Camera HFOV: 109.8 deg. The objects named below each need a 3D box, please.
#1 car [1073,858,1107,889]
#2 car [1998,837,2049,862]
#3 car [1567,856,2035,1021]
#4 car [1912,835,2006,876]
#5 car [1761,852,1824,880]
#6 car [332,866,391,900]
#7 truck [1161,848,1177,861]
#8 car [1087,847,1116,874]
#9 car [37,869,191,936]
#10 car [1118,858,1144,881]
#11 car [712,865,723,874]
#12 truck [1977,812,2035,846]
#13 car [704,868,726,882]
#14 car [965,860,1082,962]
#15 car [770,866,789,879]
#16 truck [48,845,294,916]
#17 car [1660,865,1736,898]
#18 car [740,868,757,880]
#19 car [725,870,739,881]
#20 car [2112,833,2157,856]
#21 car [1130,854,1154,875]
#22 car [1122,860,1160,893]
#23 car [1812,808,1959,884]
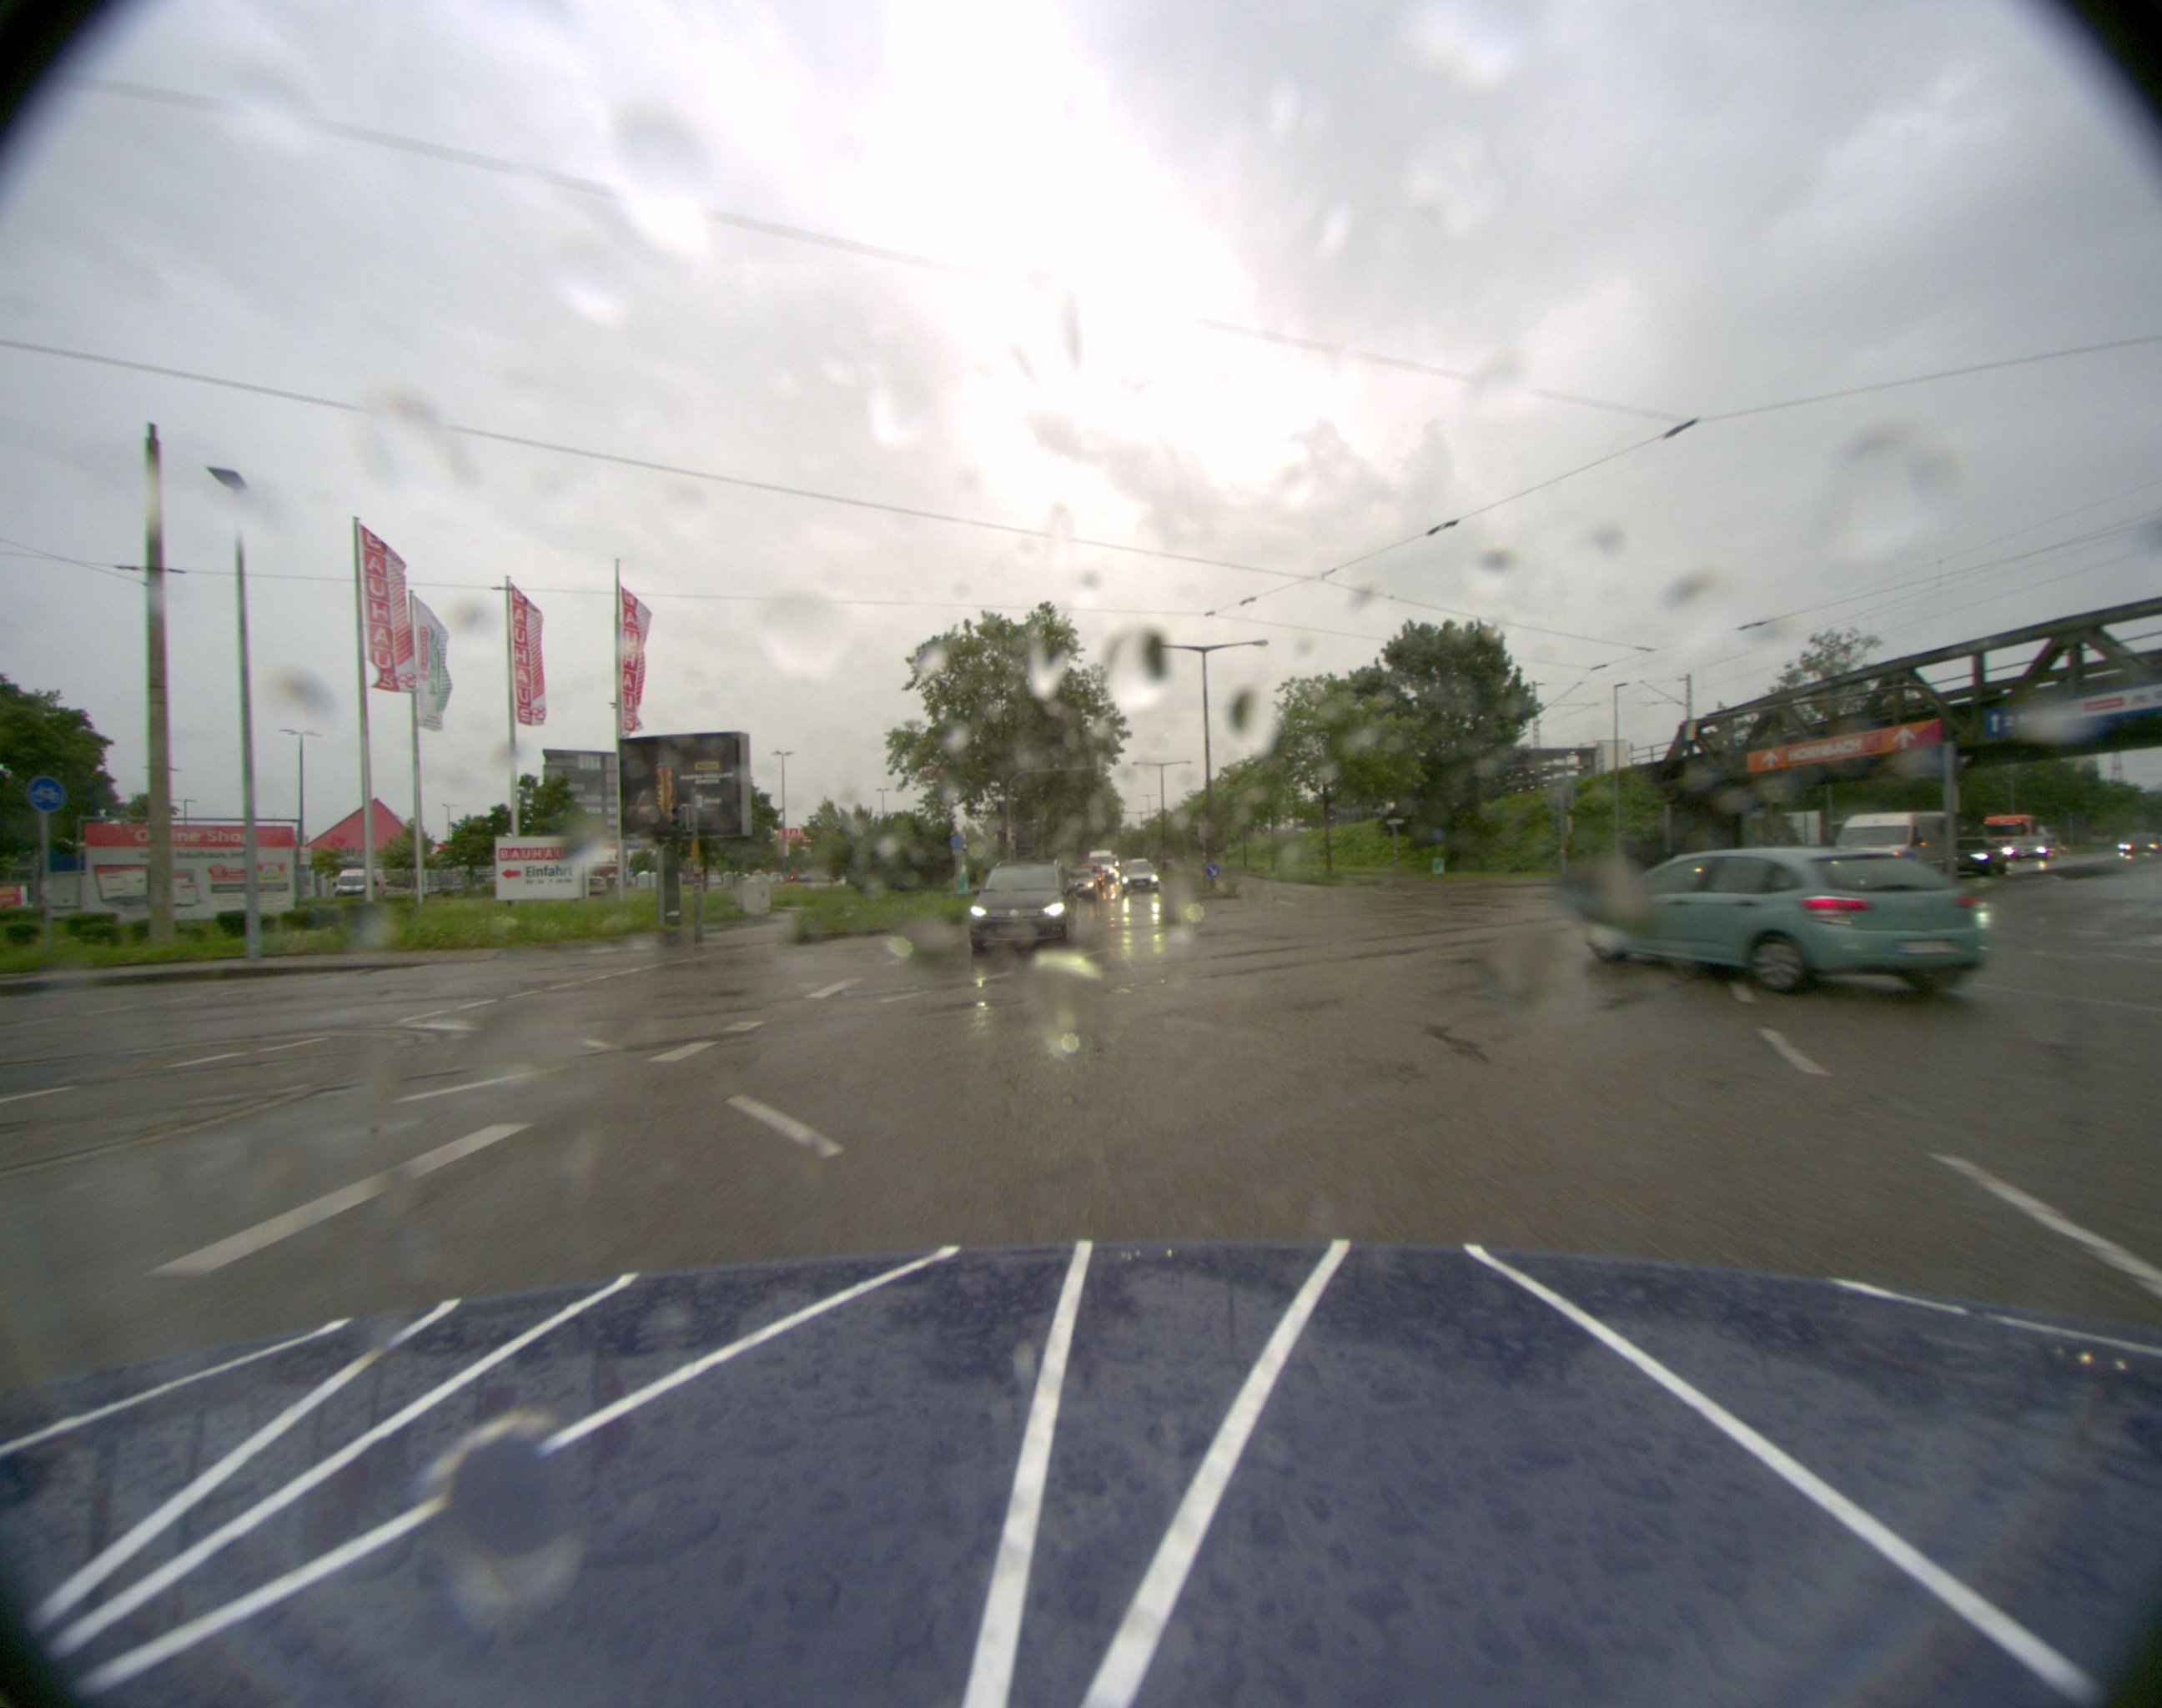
[{"bbox_3d":[0.590,1.180,47.739,1.831,1.737,4.148,-4,0,3],"label":"car"},{"bbox_3d":[64.291,-0.324,51.816,3.916,1.591,1.651,-2,0,-31],"label":"car"},{"bbox_3d":[7.809,0.772,8.876,1.642,1.464,3.964,-1,0,-1],"label":"car"},{"bbox_3d":[37.708,0.033,32.605,4.961,1.591,1.878,-2,0,-32],"label":"car"},{"bbox_3d":[40.377,0.672,43.112,4.154,1.425,1.689,-1,-1,-34],"label":"car"},{"bbox_3d":[-54.373,2.159,57.570,2.335,2.347,5.502,-2,0,-34],"label":"car"},{"bbox_3d":[17.082,0.138,147.726,2.480,2.351,6.867,-2,0,0],"label":"truck"},{"bbox_3d":[1.702,0.477,61.392,1.998,2.002,5.133,-4,0,4],"label":"car"},{"bbox_3d":[-35.898,1.696,28.420,2.196,2.191,5.090,-2,0,-36],"label":"car"},{"bbox_3d":[3.601,1.066,54.676,1.723,1.456,4.093,-4,0,4],"label":"car"},{"bbox_3d":[-74.669,3.175,156.163,1.932,1.716,4.265,-2,0,-25],"label":"car"},{"bbox_3d":[85.904,-2.312,70.526,8.199,2.808,2.548,-2,-2,-34],"label":"truck"},{"bbox_3d":[-43.725,2.456,90.731,1.933,1.543,4.263,-2,0,-30],"label":"car"},{"bbox_3d":[-0.983,1.000,15.372,1.770,1.595,4.627,-4,0,2],"label":"car"},{"bbox_3d":[-38.628,2.379,97.241,1.932,1.543,4.265,-2,0,-25],"label":"car"},{"bbox_3d":[-48.461,1.320,40.880,8.030,3.448,2.547,-1,-1,-32],"label":"truck"},{"bbox_3d":[30.179,1.324,37.141,4.154,1.425,1.689,-1,-1,-34],"label":"car"},{"bbox_3d":[-46.352,2.824,105.936,1.932,1.543,4.265,-2,0,-25],"label":"car"},{"bbox_3d":[-55.260,3.410,120.220,1.932,1.543,4.265,-2,0,-25],"label":"car"},{"bbox_3d":[78.791,-0.718,56.837,3.916,1.591,1.651,-2,0,-31],"label":"car"},{"bbox_3d":[5.182,0.862,64.920,1.831,1.602,4.148,-4,0,3],"label":"car"},{"bbox_3d":[3.159,1.147,40.805,1.773,1.565,4.822,-4,0,3],"label":"car"},{"bbox_3d":[30.565,-0.332,28.782,6.989,2.596,2.382,-2,0,-31],"label":"car"}]
